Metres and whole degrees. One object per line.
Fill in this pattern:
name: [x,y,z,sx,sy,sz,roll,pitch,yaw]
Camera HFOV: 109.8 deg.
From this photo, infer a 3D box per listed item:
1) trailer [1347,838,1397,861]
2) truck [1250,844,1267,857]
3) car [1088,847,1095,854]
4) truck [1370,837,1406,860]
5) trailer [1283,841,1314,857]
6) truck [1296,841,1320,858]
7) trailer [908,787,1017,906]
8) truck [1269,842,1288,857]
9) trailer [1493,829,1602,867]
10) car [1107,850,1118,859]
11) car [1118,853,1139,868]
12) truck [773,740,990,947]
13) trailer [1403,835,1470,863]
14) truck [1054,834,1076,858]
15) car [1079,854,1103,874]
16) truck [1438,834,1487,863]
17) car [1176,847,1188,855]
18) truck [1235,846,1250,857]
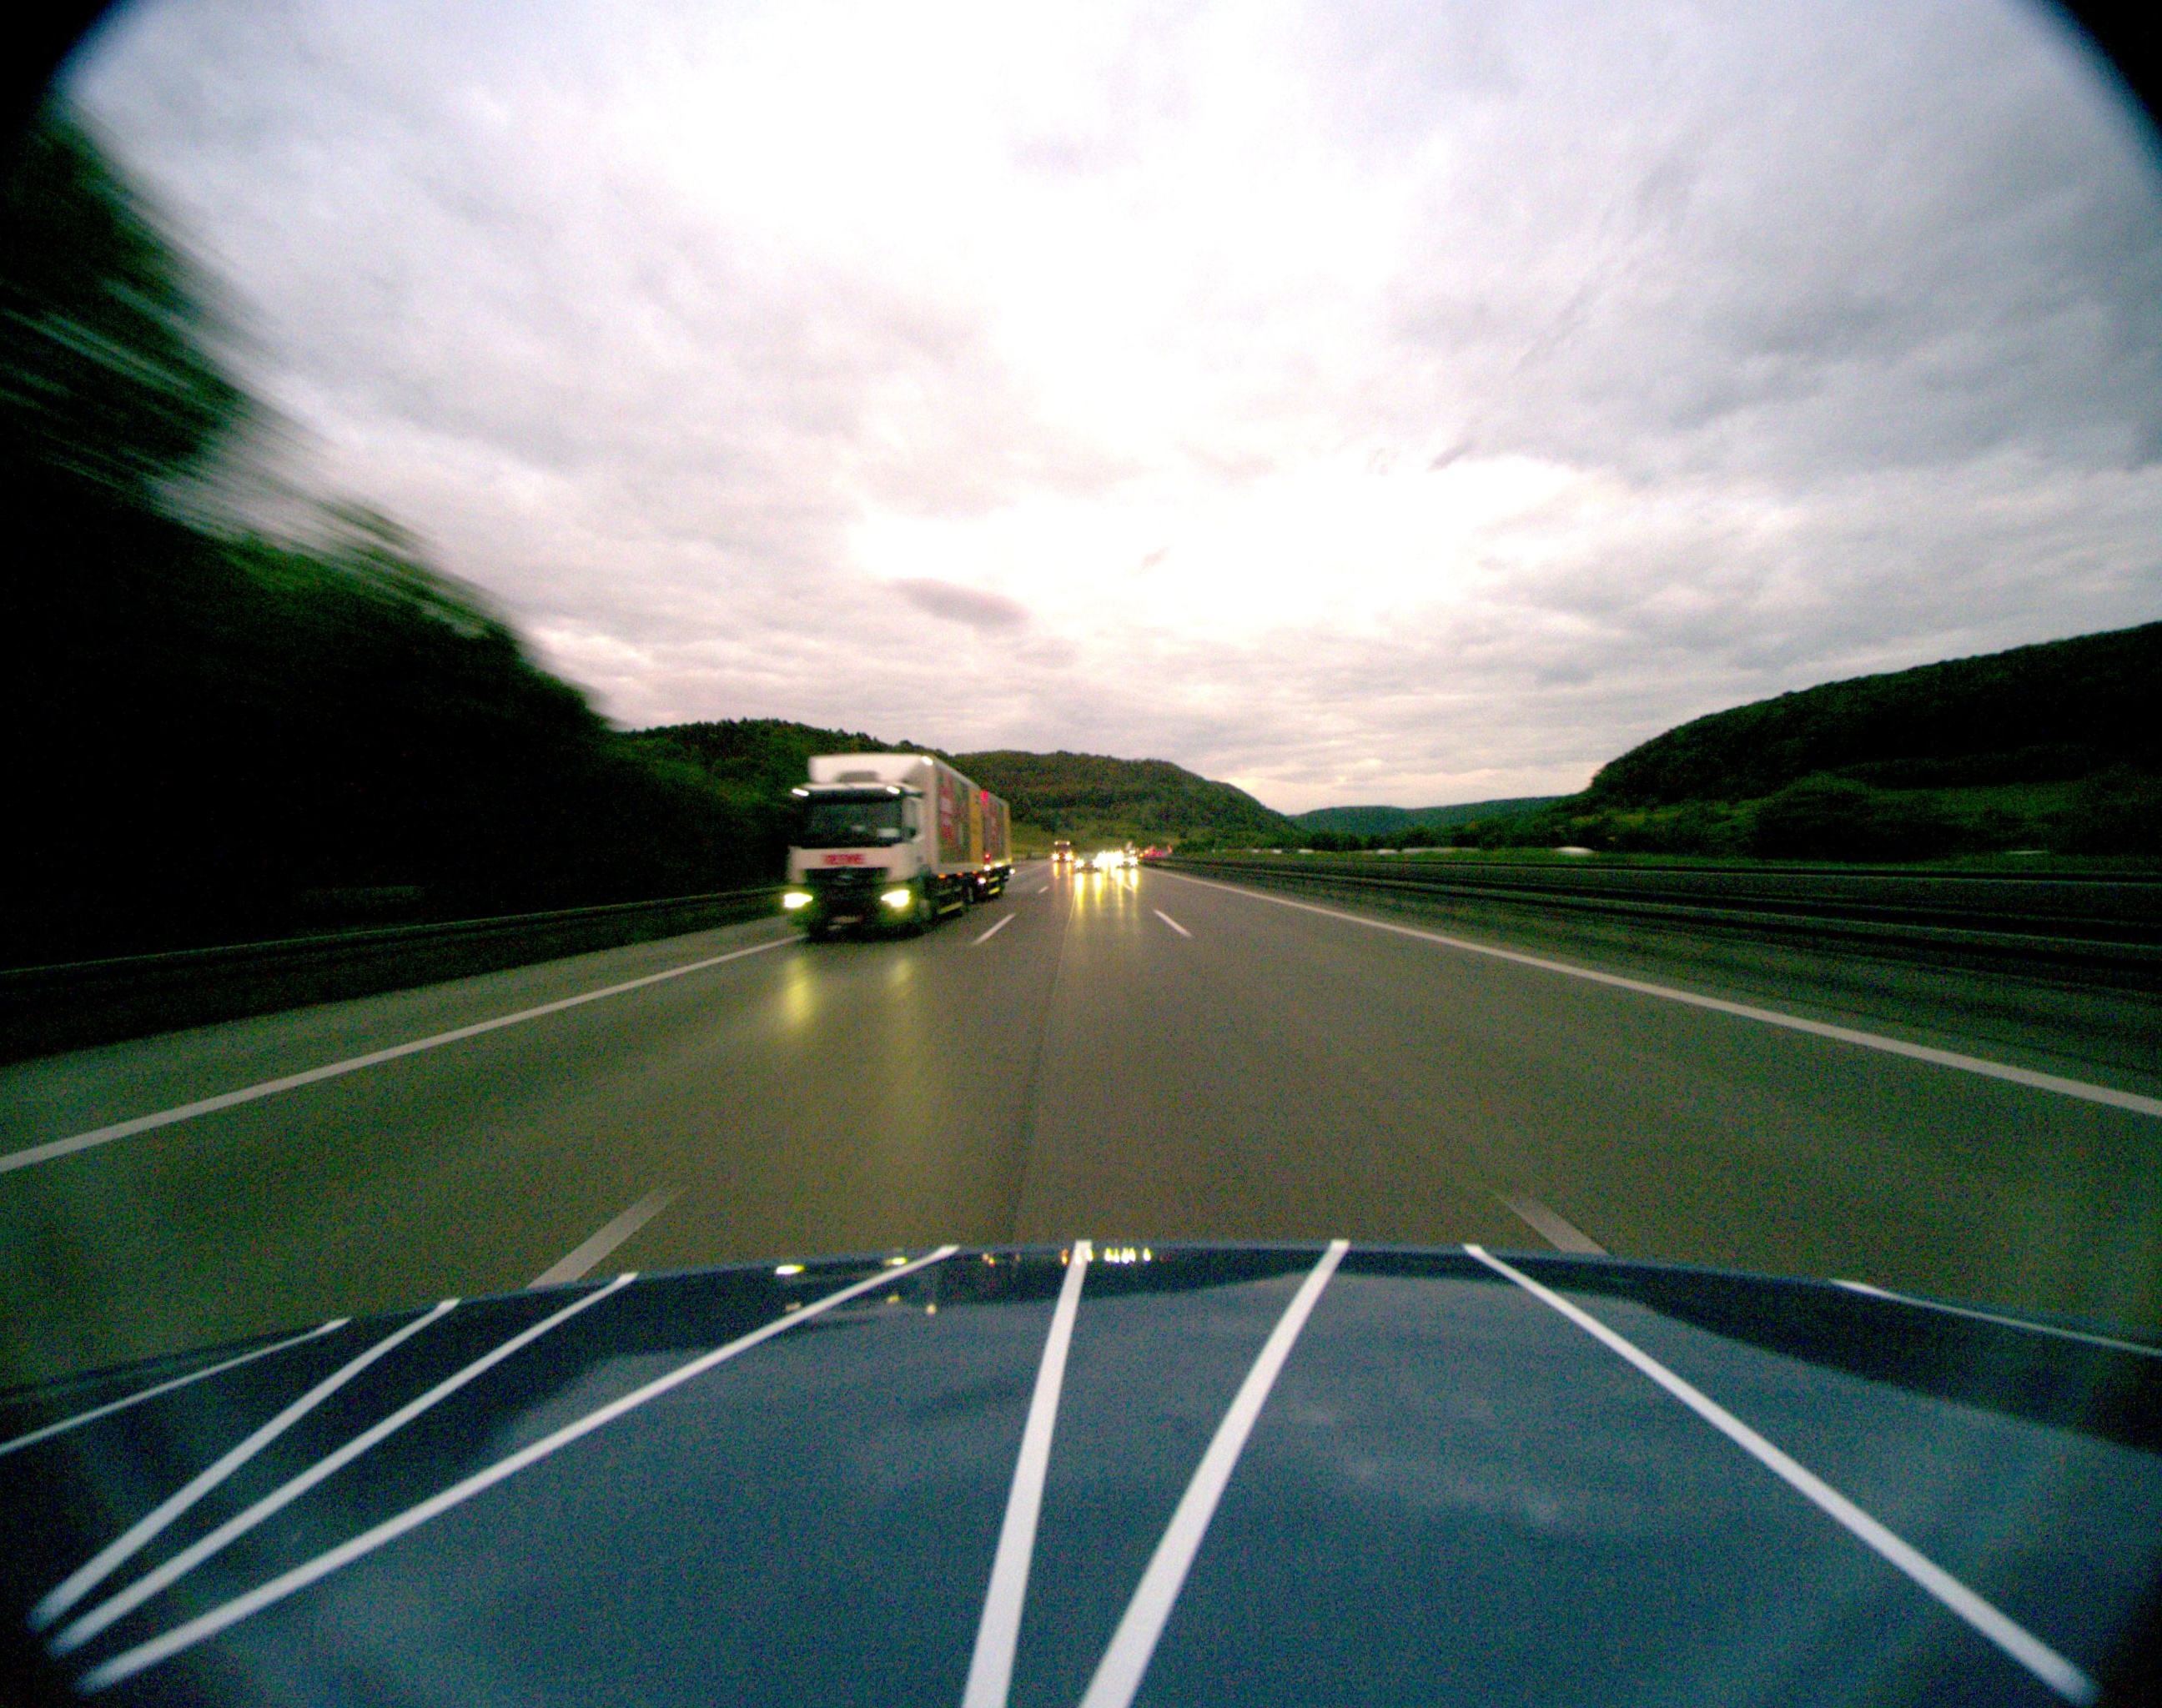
trailer: [42.076,-0.600,110.332,2.880,3.035,11.727,-1,0,1]
truck: [43.863,-0.875,188.228,2.874,3.070,5.893,0,0,1]
car: [2.877,-0.940,208.363,1.932,1.492,4.134,-4,0,2]
truck: [42.039,-0.690,104.132,2.874,3.070,5.304,0,0,1]
trailer: [43.315,-0.917,151.741,2.874,3.070,12.485,0,0,1]
truck: [43.156,-0.883,144.514,2.874,3.070,5.893,0,0,1]
trailer: [-4.195,-0.273,28.962,2.623,3.805,8.877,-1,1,1]
truck: [43.458,-0.989,167.323,2.874,3.070,5.893,0,0,1]
trailer: [41.834,-0.527,68.756,2.874,3.070,11.158,0,0,-1]
car: [6.117,0.060,145.806,1.894,1.650,5.639,-2,1,1]
car: [4.992,0.671,80.351,1.794,1.492,5.037,-2,0,0]
truck: [-4.319,-0.228,19.313,2.623,3.805,10.385,-1,1,1]
trailer: [41.916,-0.625,90.098,2.874,3.070,11.160,0,0,1]
truck: [-2.566,-1.276,129.473,3.119,3.850,14.163,2,0,1]
car: [0.856,0.829,66.141,1.927,1.674,4.806,0,1,0]
truck: [41.823,-0.594,83.494,2.874,3.070,5.304,0,0,1]
car: [22.570,-0.734,169.640,1.998,1.691,5.116,2,0,0]
truck: [44.531,-0.674,209.877,2.874,3.070,5.893,0,0,1]
